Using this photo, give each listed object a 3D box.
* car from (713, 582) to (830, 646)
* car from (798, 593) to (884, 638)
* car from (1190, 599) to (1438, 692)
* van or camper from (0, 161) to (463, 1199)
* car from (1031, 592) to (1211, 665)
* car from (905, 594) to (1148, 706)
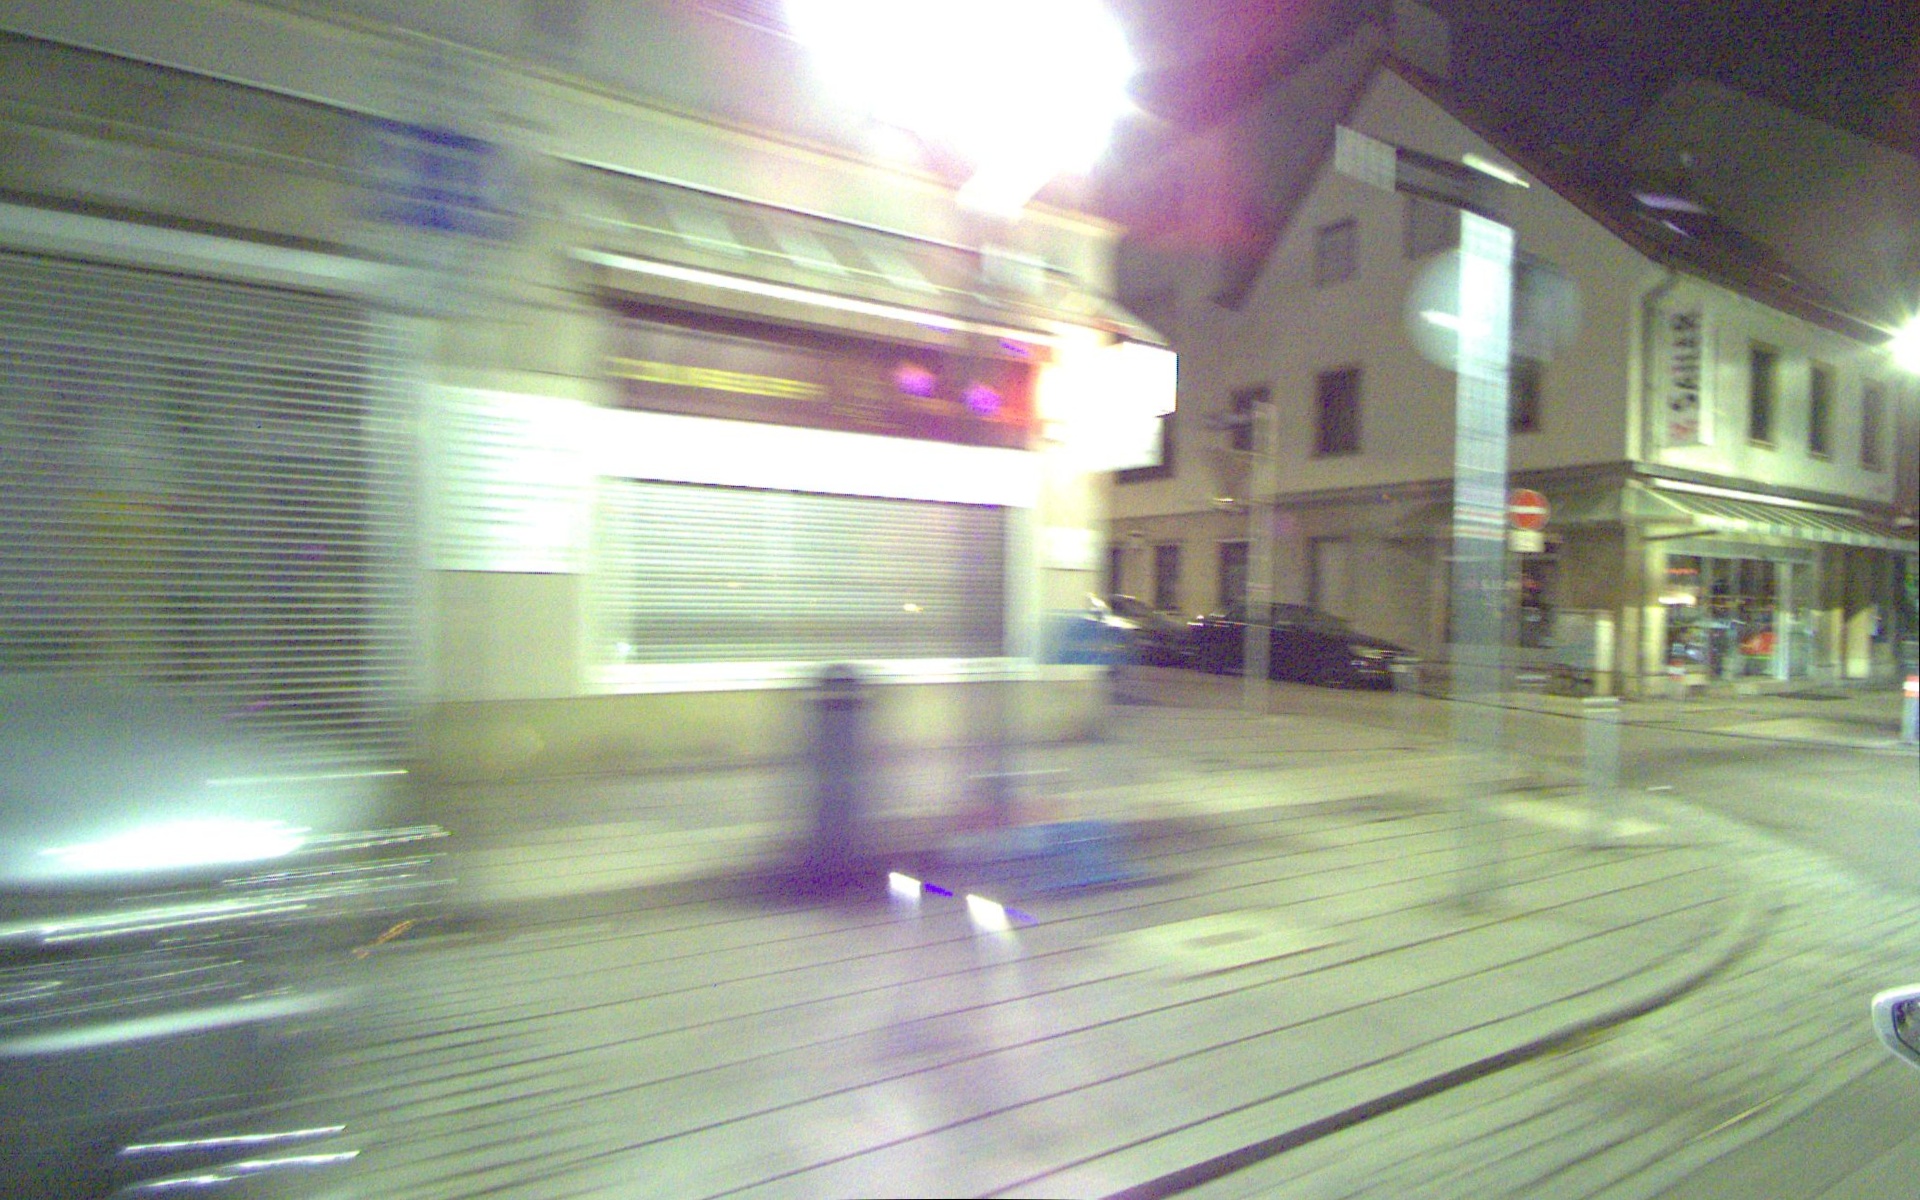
[{"bbox_3d":[-5.410,0.336,28.488,1.977,1.670,3.966,-1,1,-31],"label":"car"},{"bbox_3d":[-4.304,0.516,35.879,1.593,1.410,3.647,3,0,-32],"label":"car"},{"bbox_3d":[6.267,0.769,18.213,1.789,1.394,3.965,3,0,-32],"label":"car"},{"bbox_3d":[-3.538,0.319,1.324,5.085,1.968,1.840,2,1,-26],"label":"van or camper"},{"bbox_3d":[3.519,0.591,22.615,1.789,1.410,3.965,3,0,-32],"label":"car"},{"bbox_3d":[0.904,0.679,16.270,1.759,1.420,4.418,-2,2,-31],"label":"car"}]
